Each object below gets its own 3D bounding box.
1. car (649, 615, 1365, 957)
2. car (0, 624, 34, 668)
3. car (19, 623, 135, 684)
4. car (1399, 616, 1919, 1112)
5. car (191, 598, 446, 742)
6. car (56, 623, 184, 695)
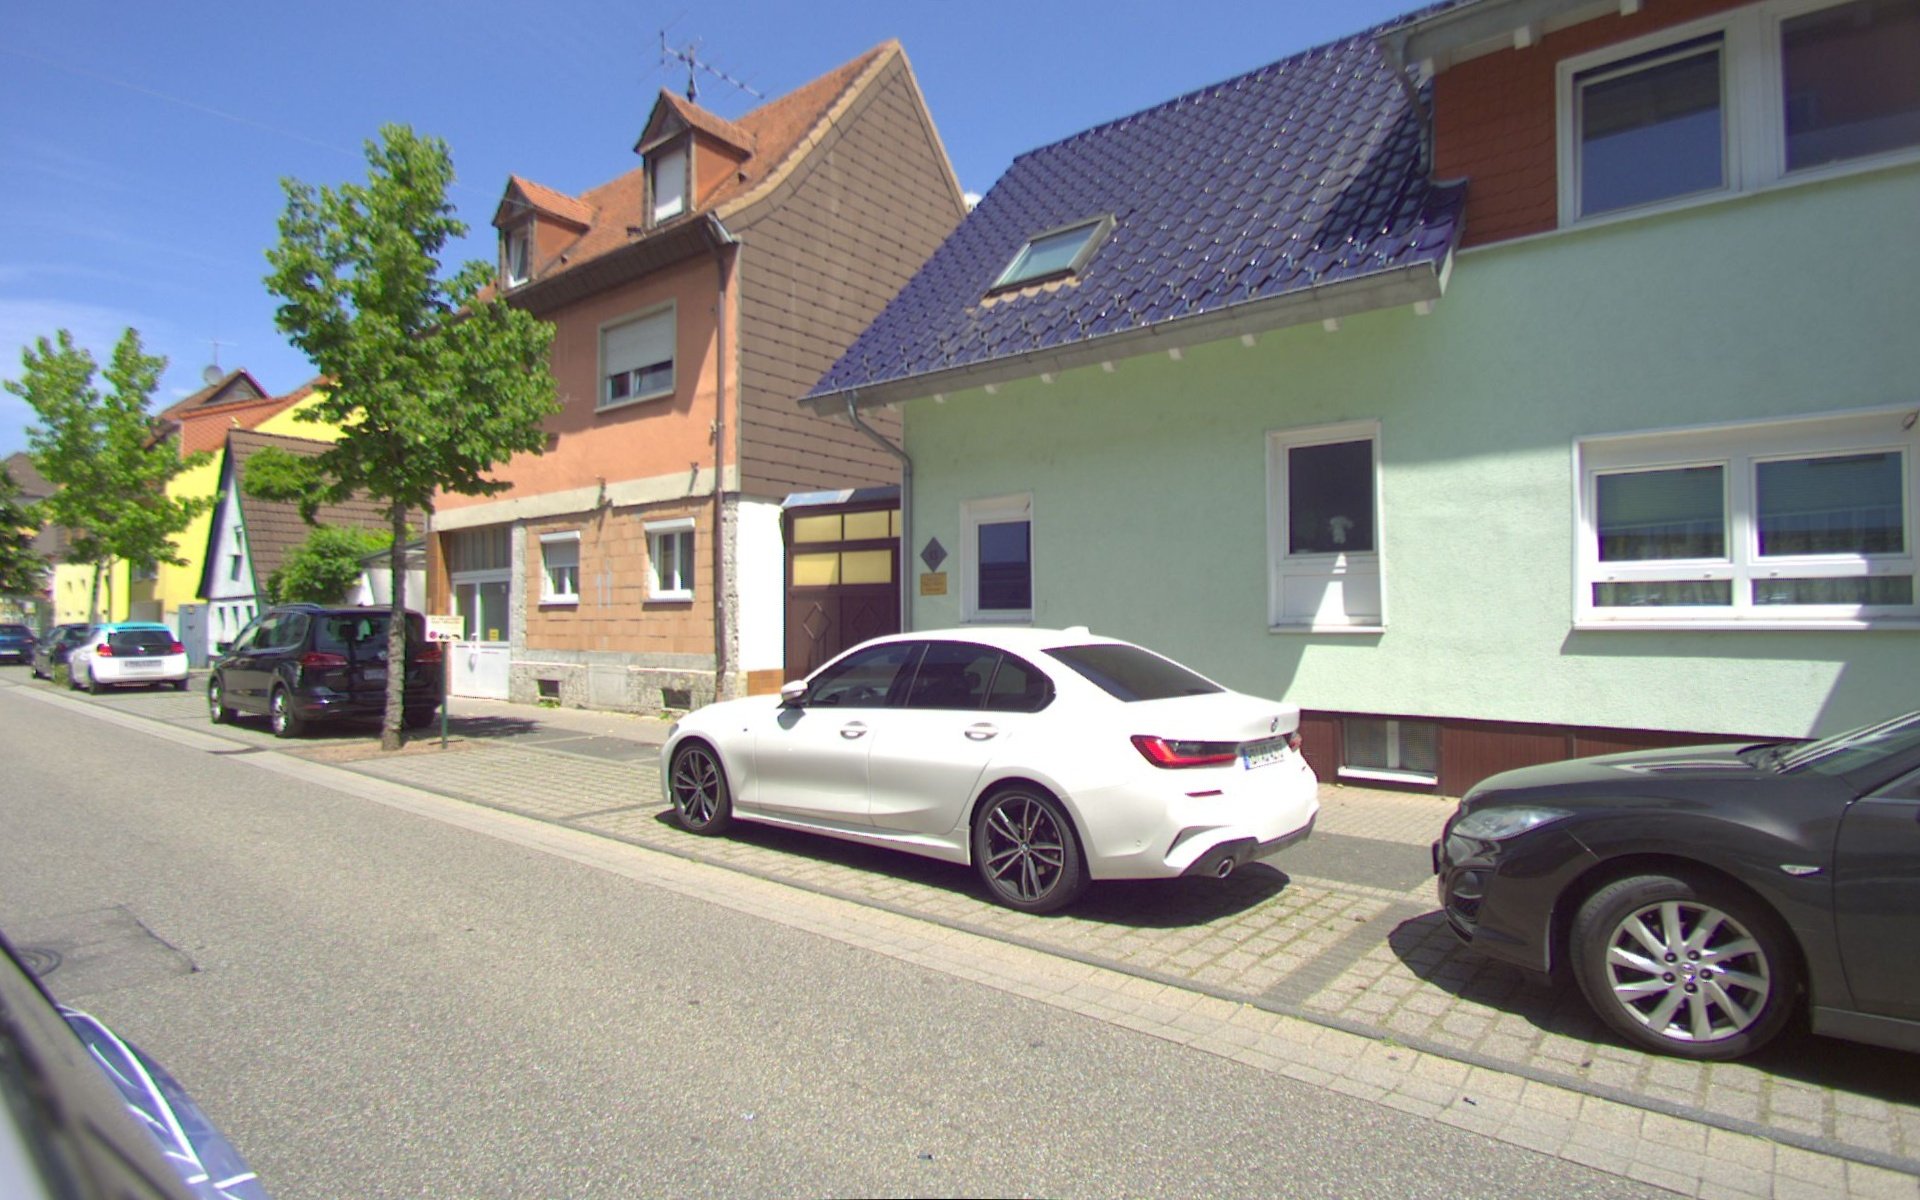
[{"bbox_3d":[0.005,0.841,6.430,4.457,1.448,1.702,-1,-1,41],"label":"car"},{"bbox_3d":[-32.636,1.522,34.061,4.155,1.418,1.639,-1,-2,41],"label":"car"},{"bbox_3d":[-22.766,1.343,26.056,4.096,1.441,1.628,-1,-3,40],"label":"car"},{"bbox_3d":[3.952,0.770,3.061,4.536,1.448,1.643,-1,-2,41],"label":"car"},{"bbox_3d":[-9.193,0.901,14.357,4.516,1.739,1.757,-1,-2,40],"label":"car"},{"bbox_3d":[-18.139,1.223,21.818,3.407,1.441,1.538,-1,-3,40],"label":"car"}]
